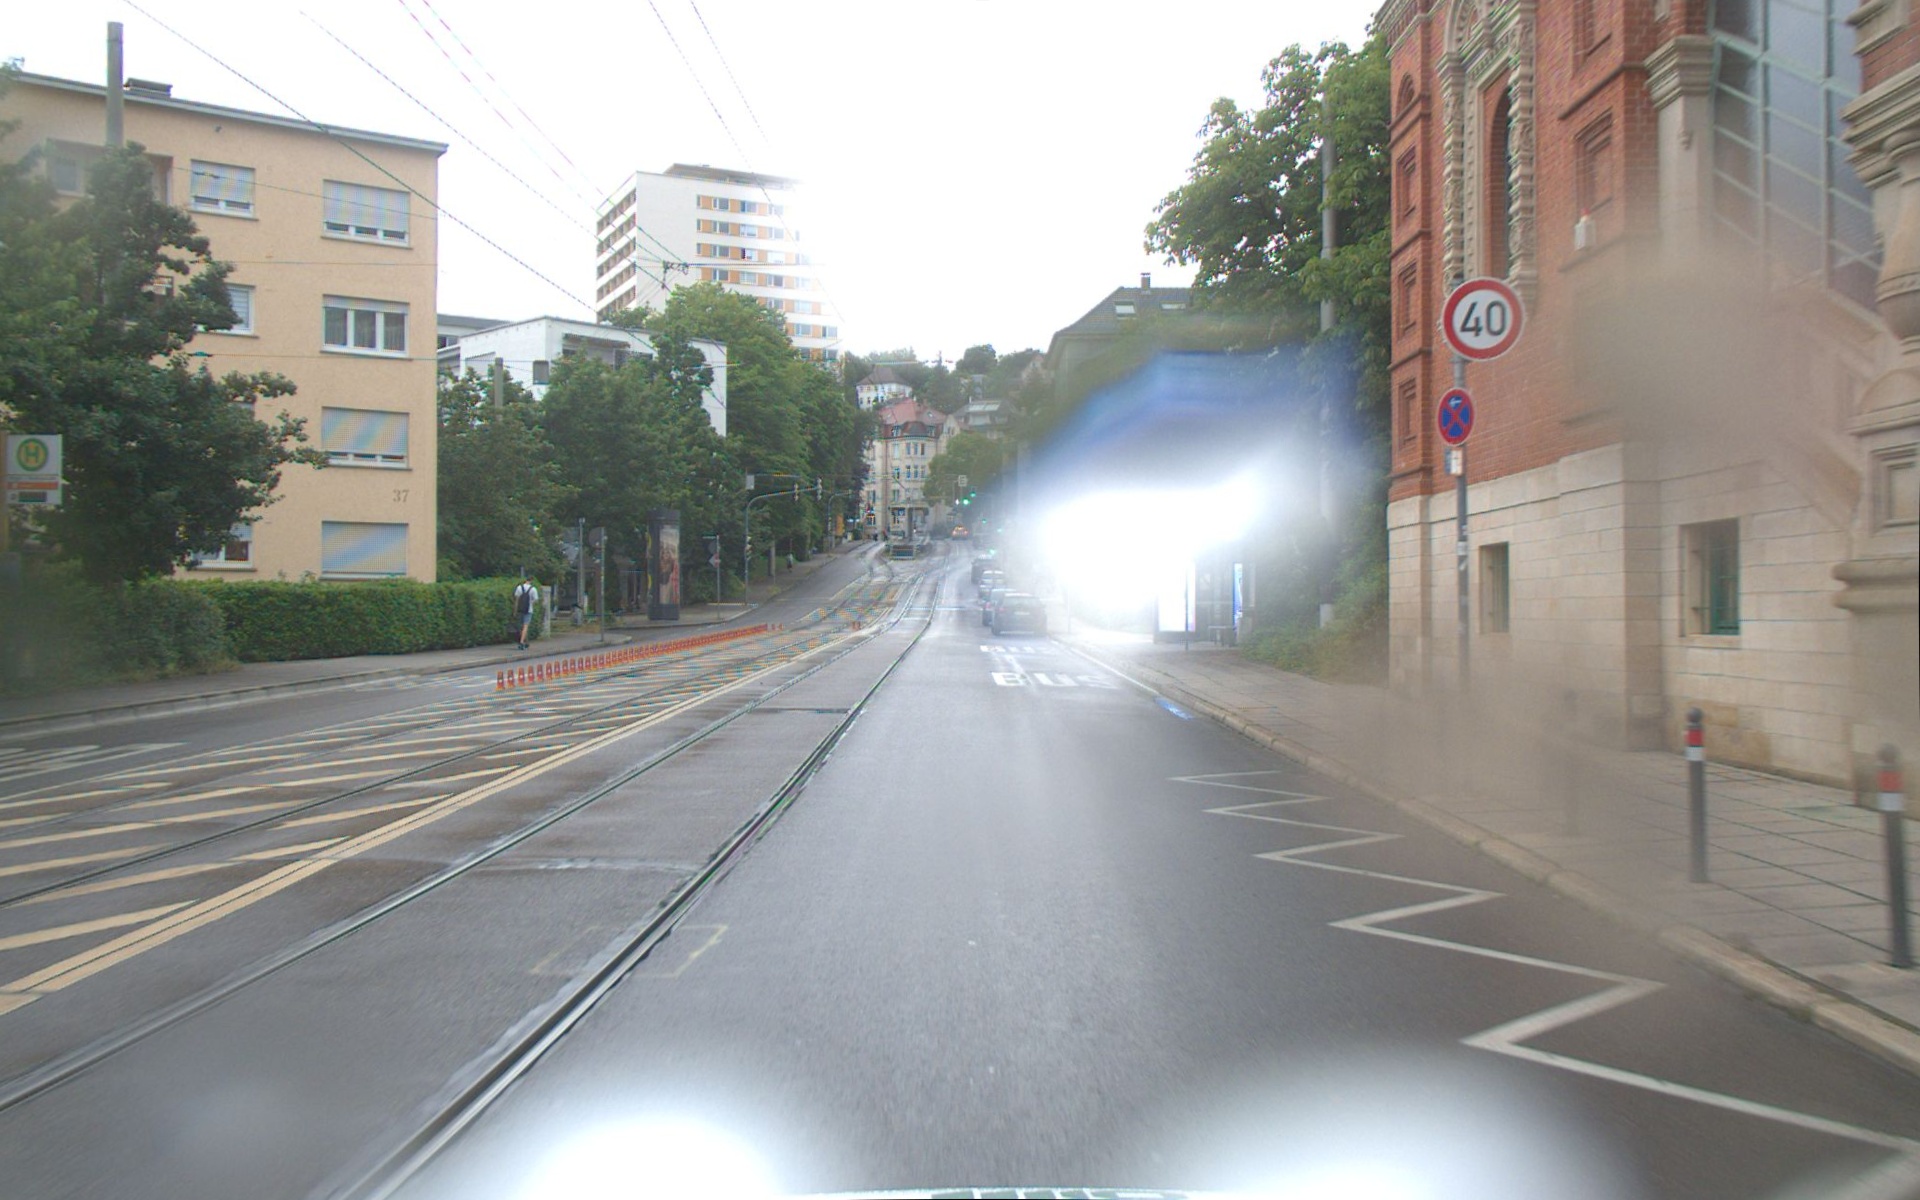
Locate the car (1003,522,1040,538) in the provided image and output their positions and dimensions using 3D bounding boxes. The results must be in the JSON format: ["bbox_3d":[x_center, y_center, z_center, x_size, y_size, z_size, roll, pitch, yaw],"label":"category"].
[{"bbox_3d":[7.137,-8.146,191.878,3.957,1.674,1.784,1,1,-37],"label":"car"}]

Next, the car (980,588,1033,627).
[{"bbox_3d":[1.884,0.292,68.408,1.901,1.489,4.205,1,0,-2],"label":"car"}]

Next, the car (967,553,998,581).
[{"bbox_3d":[1.487,-2.202,109.513,1.867,1.670,4.690,2,3,-1],"label":"car"}]

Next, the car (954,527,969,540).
[{"bbox_3d":[0.235,-9.024,225.057,1.867,1.670,4.690,2,3,-1],"label":"car"}]

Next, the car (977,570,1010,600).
[{"bbox_3d":[1.896,-0.847,93.264,1.670,1.458,4.102,2,3,-1],"label":"car"}]

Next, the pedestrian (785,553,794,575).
[{"bbox_3d":[-12.614,-2.666,122.478,0.571,1.628,0.869,3,2,-4],"label":"pedestrian"}]

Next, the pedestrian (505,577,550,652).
[{"bbox_3d":[-11.093,0.365,42.431,0.901,1.878,1.016,2,-1,-6],"label":"pedestrian"}]

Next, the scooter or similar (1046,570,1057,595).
[{"bbox_3d":[5.215,-0.981,94.029,0.562,1.270,1.612,1,5,5],"label":"scooter or similar"}]

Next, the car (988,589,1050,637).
[{"bbox_3d":[1.999,0.415,56.943,1.820,1.513,4.644,-2,1,-1],"label":"car"}]

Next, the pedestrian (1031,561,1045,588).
[{"bbox_3d":[4.867,-1.606,103.337,0.864,1.610,0.802,-1,4,2],"label":"pedestrian"}]
